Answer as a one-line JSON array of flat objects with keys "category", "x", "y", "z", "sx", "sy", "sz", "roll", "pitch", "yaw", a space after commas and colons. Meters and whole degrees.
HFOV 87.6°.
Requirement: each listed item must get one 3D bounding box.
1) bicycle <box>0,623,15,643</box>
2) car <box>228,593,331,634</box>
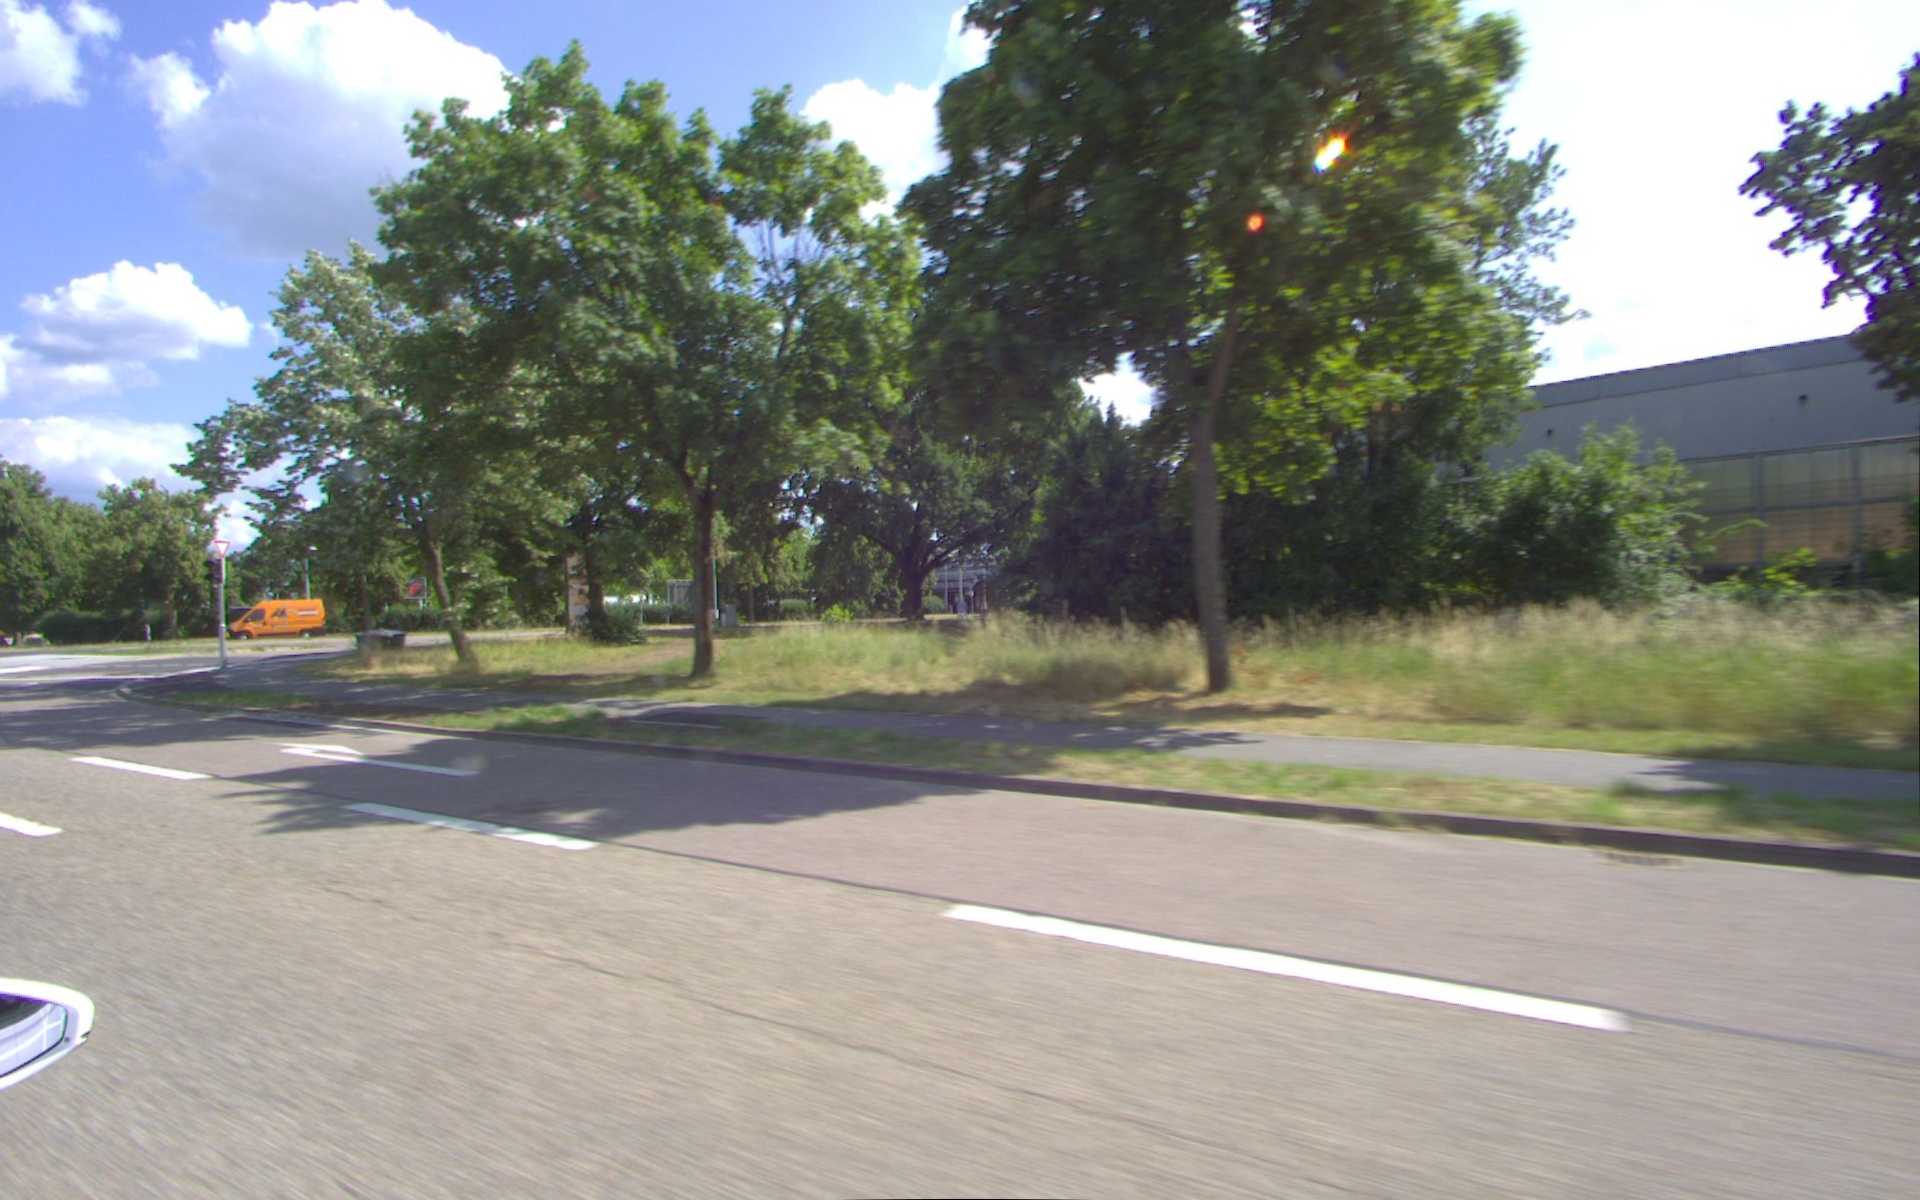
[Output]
[{"category": "bicycle", "x": -54.991, "y": 1.876, "z": 56.763, "sx": 1.976, "sy": 1.108, "sz": 0.682, "roll": 0, "pitch": -1, "yaw": -33}, {"category": "car", "x": -39.994, "y": 0.856, "z": 58.889, "sx": 4.806, "sy": 2.253, "sz": 2.194, "roll": 2, "pitch": -3, "yaw": -40}]
